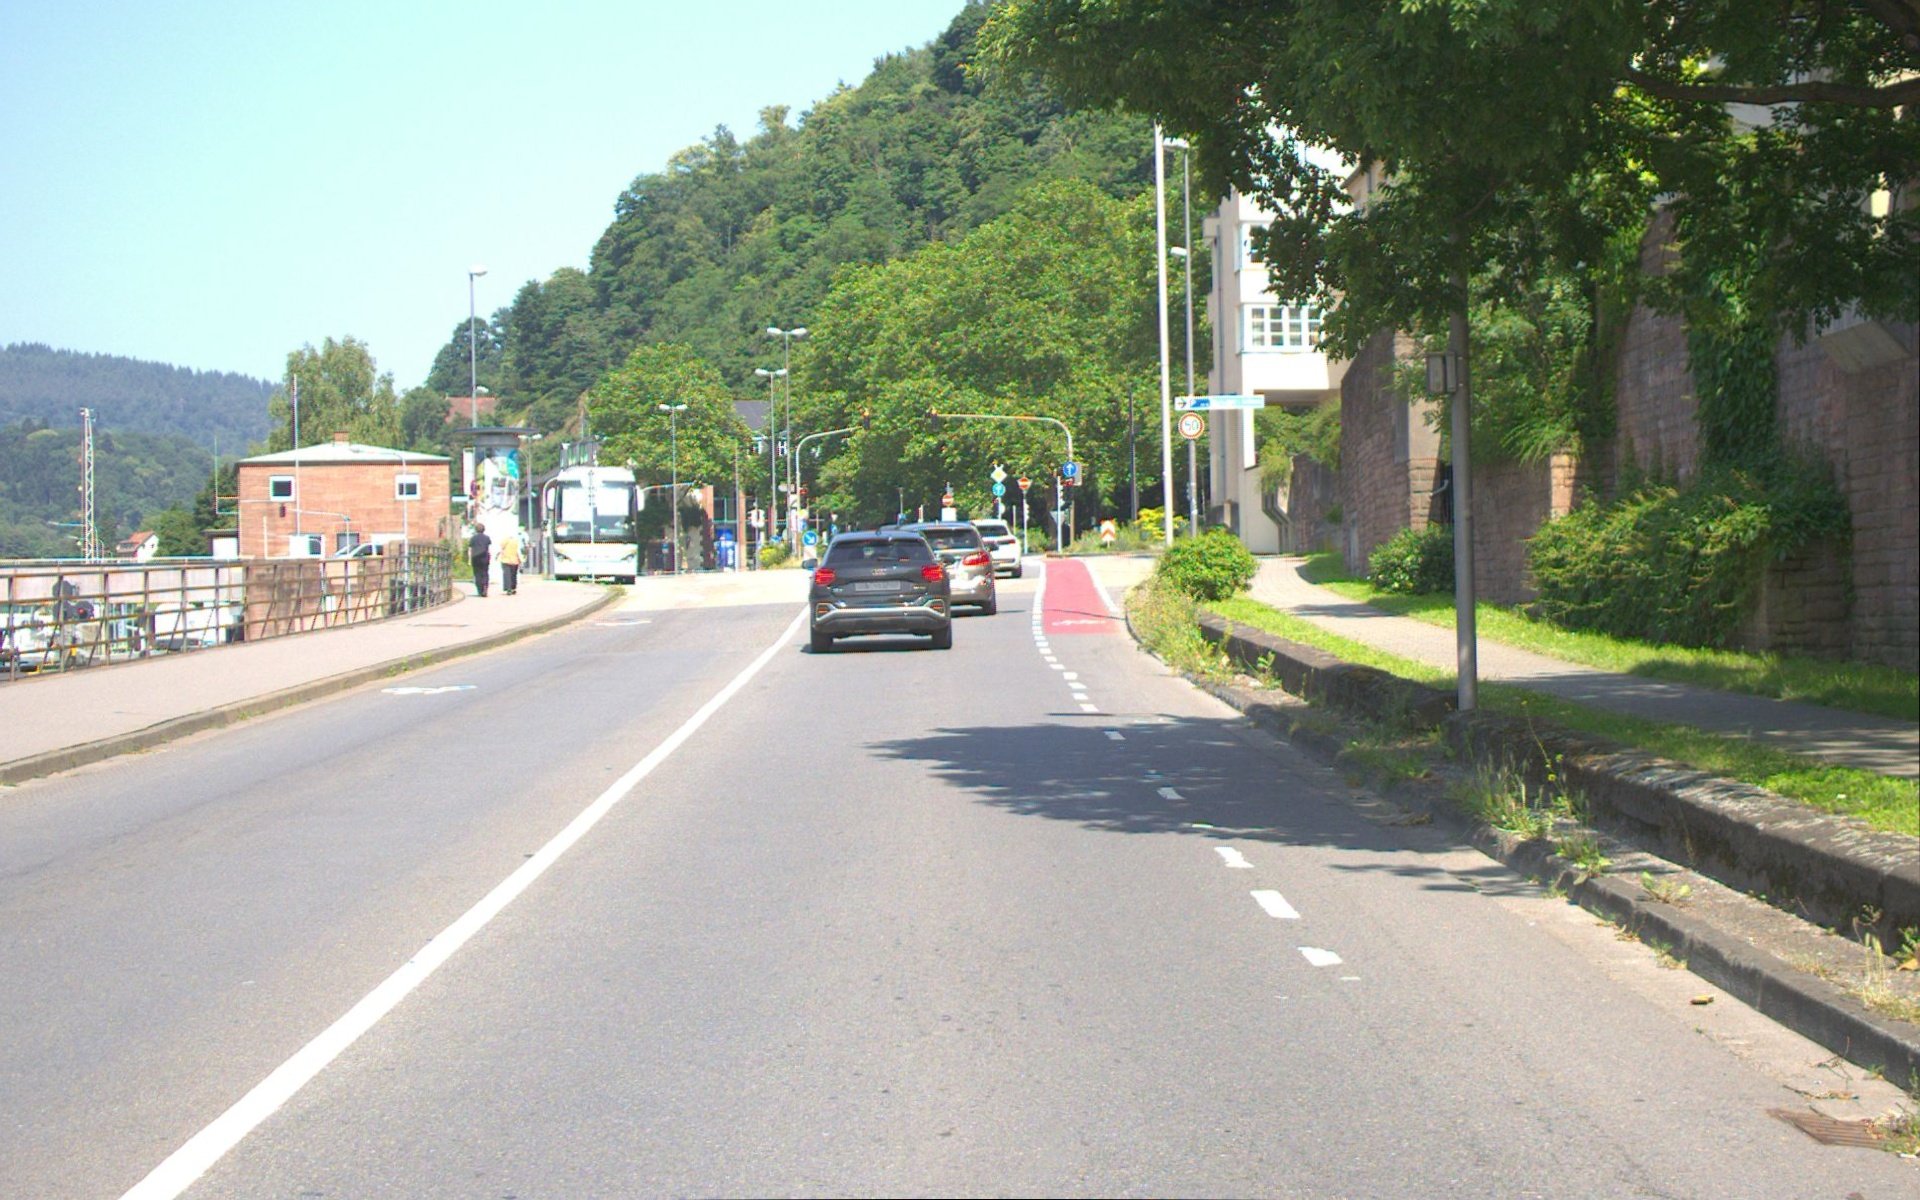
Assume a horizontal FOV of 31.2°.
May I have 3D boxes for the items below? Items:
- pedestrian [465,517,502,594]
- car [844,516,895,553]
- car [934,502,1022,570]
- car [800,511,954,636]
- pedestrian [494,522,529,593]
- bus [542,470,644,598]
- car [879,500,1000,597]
[{"bbox_3d":[-10.755,-1.003,77.628,0.683,1.703,0.773,-2,1,0],"label":"pedestrian"},{"bbox_3d":[-3.597,-2.605,135.894,1.866,1.354,4.001,-3,1,-3],"label":"car"},{"bbox_3d":[0.396,-1.517,81.734,1.993,1.528,4.859,-1,1,-1],"label":"car"},{"bbox_3d":[-1.032,-0.358,44.183,1.869,1.508,4.151,-1,1,-1],"label":"car"},{"bbox_3d":[-10.412,-0.987,79.807,0.702,1.615,0.817,-2,1,-3],"label":"pedestrian"},{"bbox_3d":[-11.724,-2.084,110.327,2.956,3.787,13.247,-2,1,-6],"label":"bus"},{"bbox_3d":[-0.346,-0.846,56.660,1.888,1.516,4.306,-1,1,-1],"label":"car"}]
